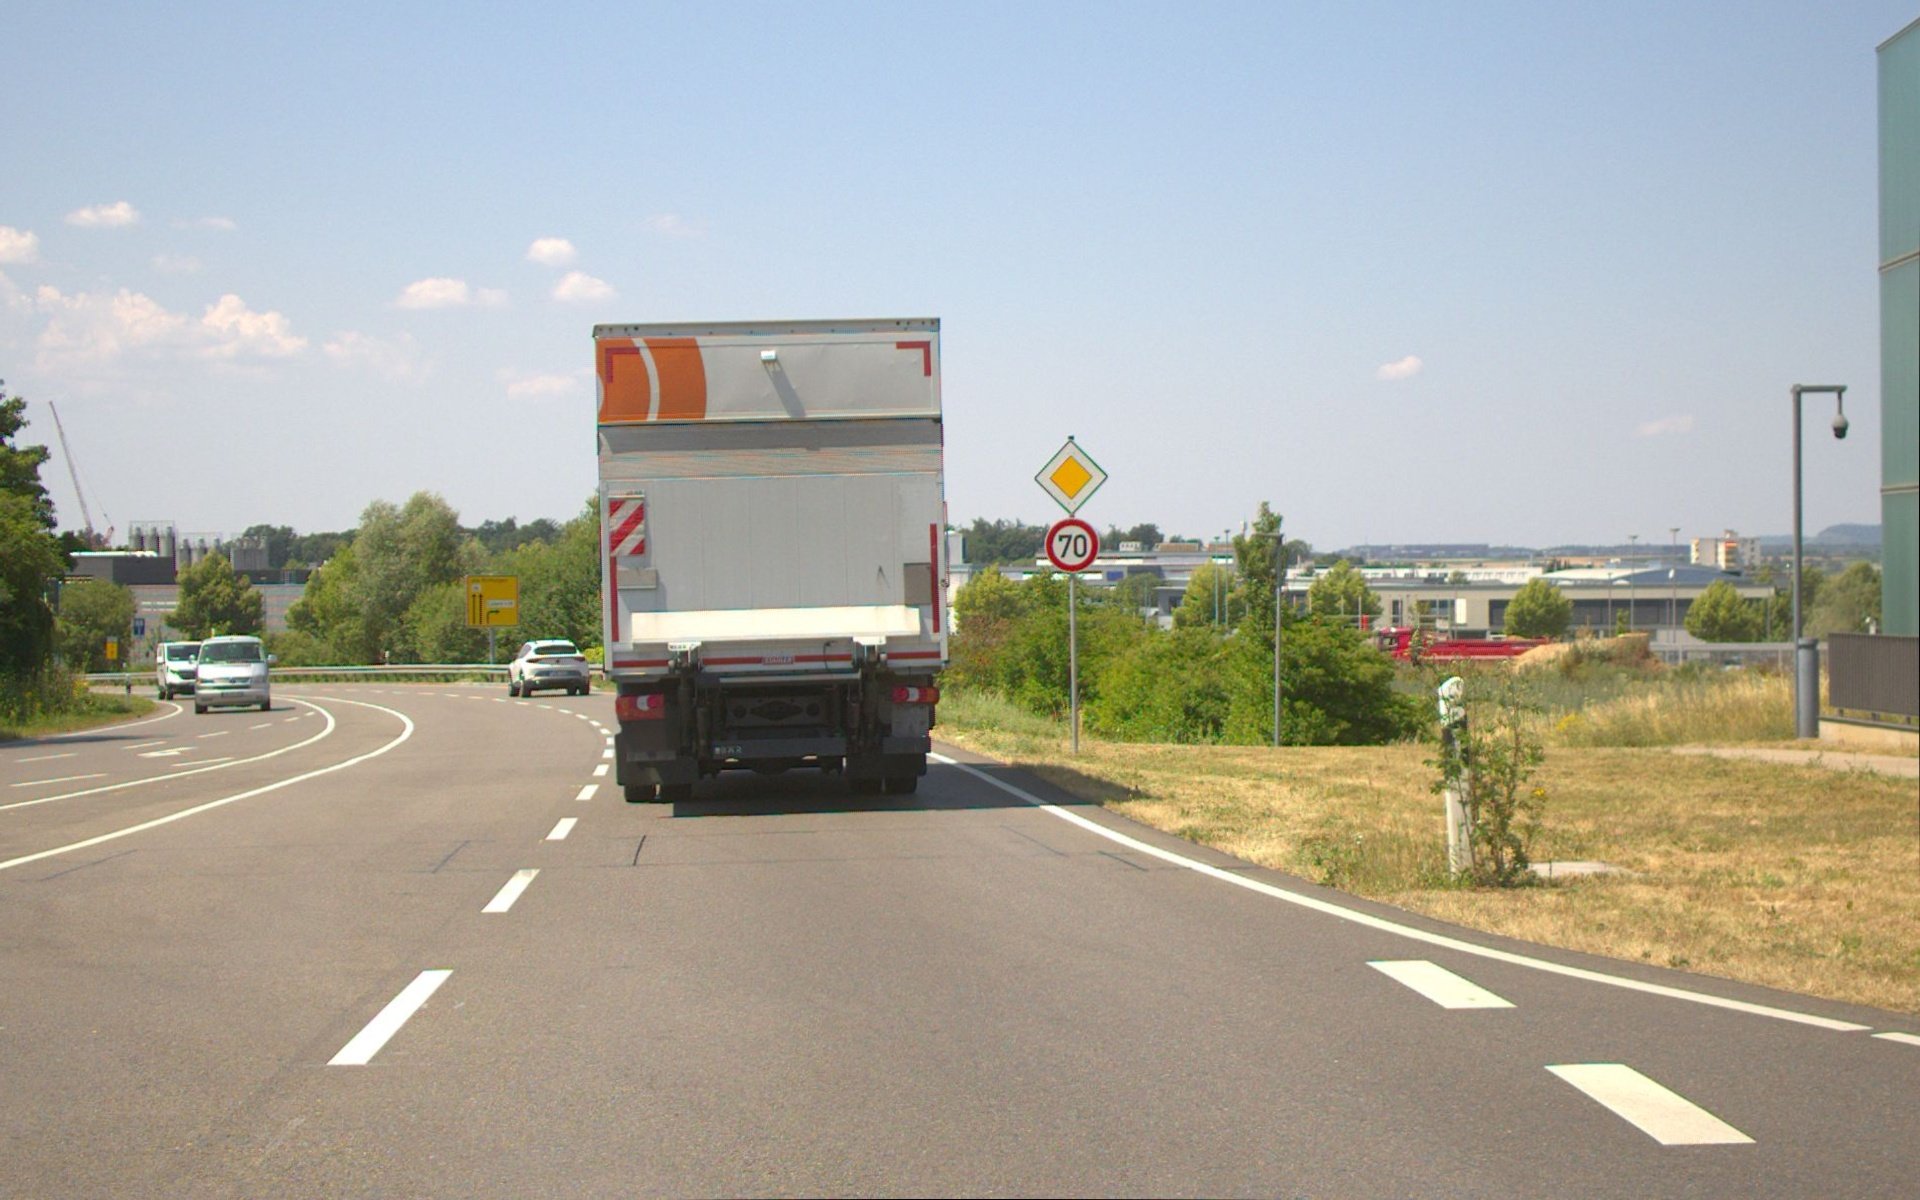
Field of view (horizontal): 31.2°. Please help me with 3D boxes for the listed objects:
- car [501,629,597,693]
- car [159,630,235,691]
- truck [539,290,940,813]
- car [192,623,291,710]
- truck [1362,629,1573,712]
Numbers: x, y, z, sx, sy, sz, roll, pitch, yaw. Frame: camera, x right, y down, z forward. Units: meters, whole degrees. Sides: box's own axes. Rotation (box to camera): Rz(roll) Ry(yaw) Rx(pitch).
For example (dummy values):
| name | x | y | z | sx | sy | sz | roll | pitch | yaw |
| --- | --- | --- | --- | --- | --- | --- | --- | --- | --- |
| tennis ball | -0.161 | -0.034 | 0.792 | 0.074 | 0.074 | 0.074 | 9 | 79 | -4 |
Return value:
| name | x | y | z | sx | sy | sz | roll | pitch | yaw |
| --- | --- | --- | --- | --- | --- | --- | --- | --- | --- |
| car | -11.130 | 1.671 | 92.901 | 1.943 | 1.659 | 4.001 | 1 | -2 | -16 |
| car | -26.184 | 2.071 | 117.854 | 2.075 | 2.007 | 5.808 | -1 | -1 | -17 |
| truck | -1.638 | -0.330 | 29.307 | 2.803 | 3.698 | 9.108 | -1 | 0 | -1 |
| car | -18.163 | 1.650 | 87.100 | 1.973 | 2.007 | 4.841 | 1 | 1 | -6 |
| truck | 24.084 | 3.310 | 163.343 | 9.400 | 3.672 | 3.127 | 1 | 1 | 24 |
